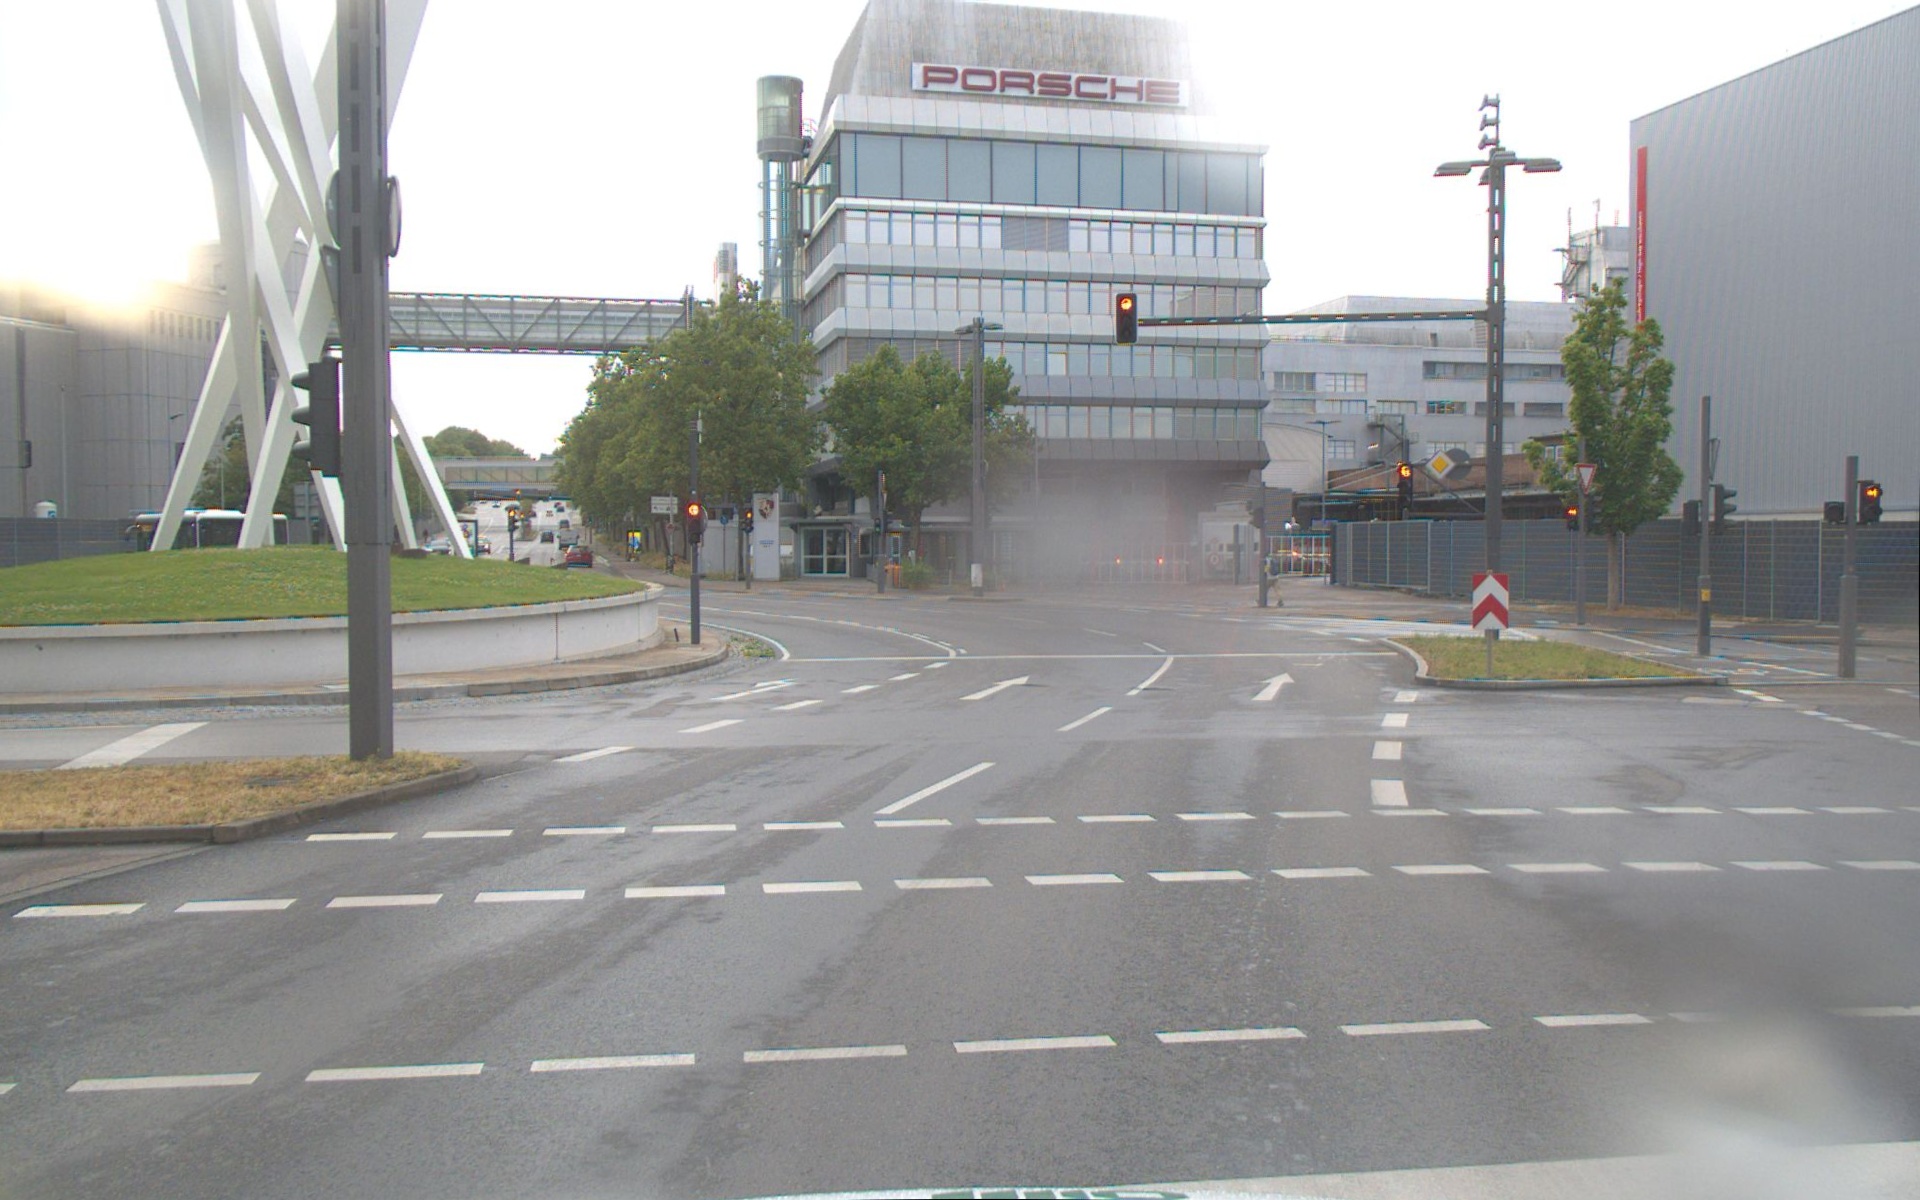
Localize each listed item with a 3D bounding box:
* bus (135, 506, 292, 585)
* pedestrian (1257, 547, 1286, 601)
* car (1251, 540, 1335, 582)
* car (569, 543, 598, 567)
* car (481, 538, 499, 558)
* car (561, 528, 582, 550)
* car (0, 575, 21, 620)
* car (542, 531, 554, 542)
[{"bbox_3d":[-33.240,-2.308,74.355,2.617,3.257,12.653,0,1,-6],"label":"bus"},{"bbox_3d":[9.619,-0.790,51.010,0.791,1.639,0.770,-1,-1,16],"label":"pedestrian"},{"bbox_3d":[16.538,-1.917,82.023,1.963,2.004,4.868,0,1,40],"label":"car"},{"bbox_3d":[-24.903,-2.945,109.315,1.743,1.490,3.718,0,0,-15],"label":"car"},{"bbox_3d":[-44.217,-4.889,155.657,1.600,1.848,3.718,0,1,-15],"label":"car"},{"bbox_3d":[-43.035,-6.723,183.206,2.193,2.145,4.939,0,-1,-12],"label":"car"},{"bbox_3d":[-33.245,-0.074,54.176,1.743,1.512,3.986,1,1,35],"label":"car"},{"bbox_3d":[-54.188,-8.315,217.508,1.531,1.311,3.400,0,0,-15],"label":"car"}]
